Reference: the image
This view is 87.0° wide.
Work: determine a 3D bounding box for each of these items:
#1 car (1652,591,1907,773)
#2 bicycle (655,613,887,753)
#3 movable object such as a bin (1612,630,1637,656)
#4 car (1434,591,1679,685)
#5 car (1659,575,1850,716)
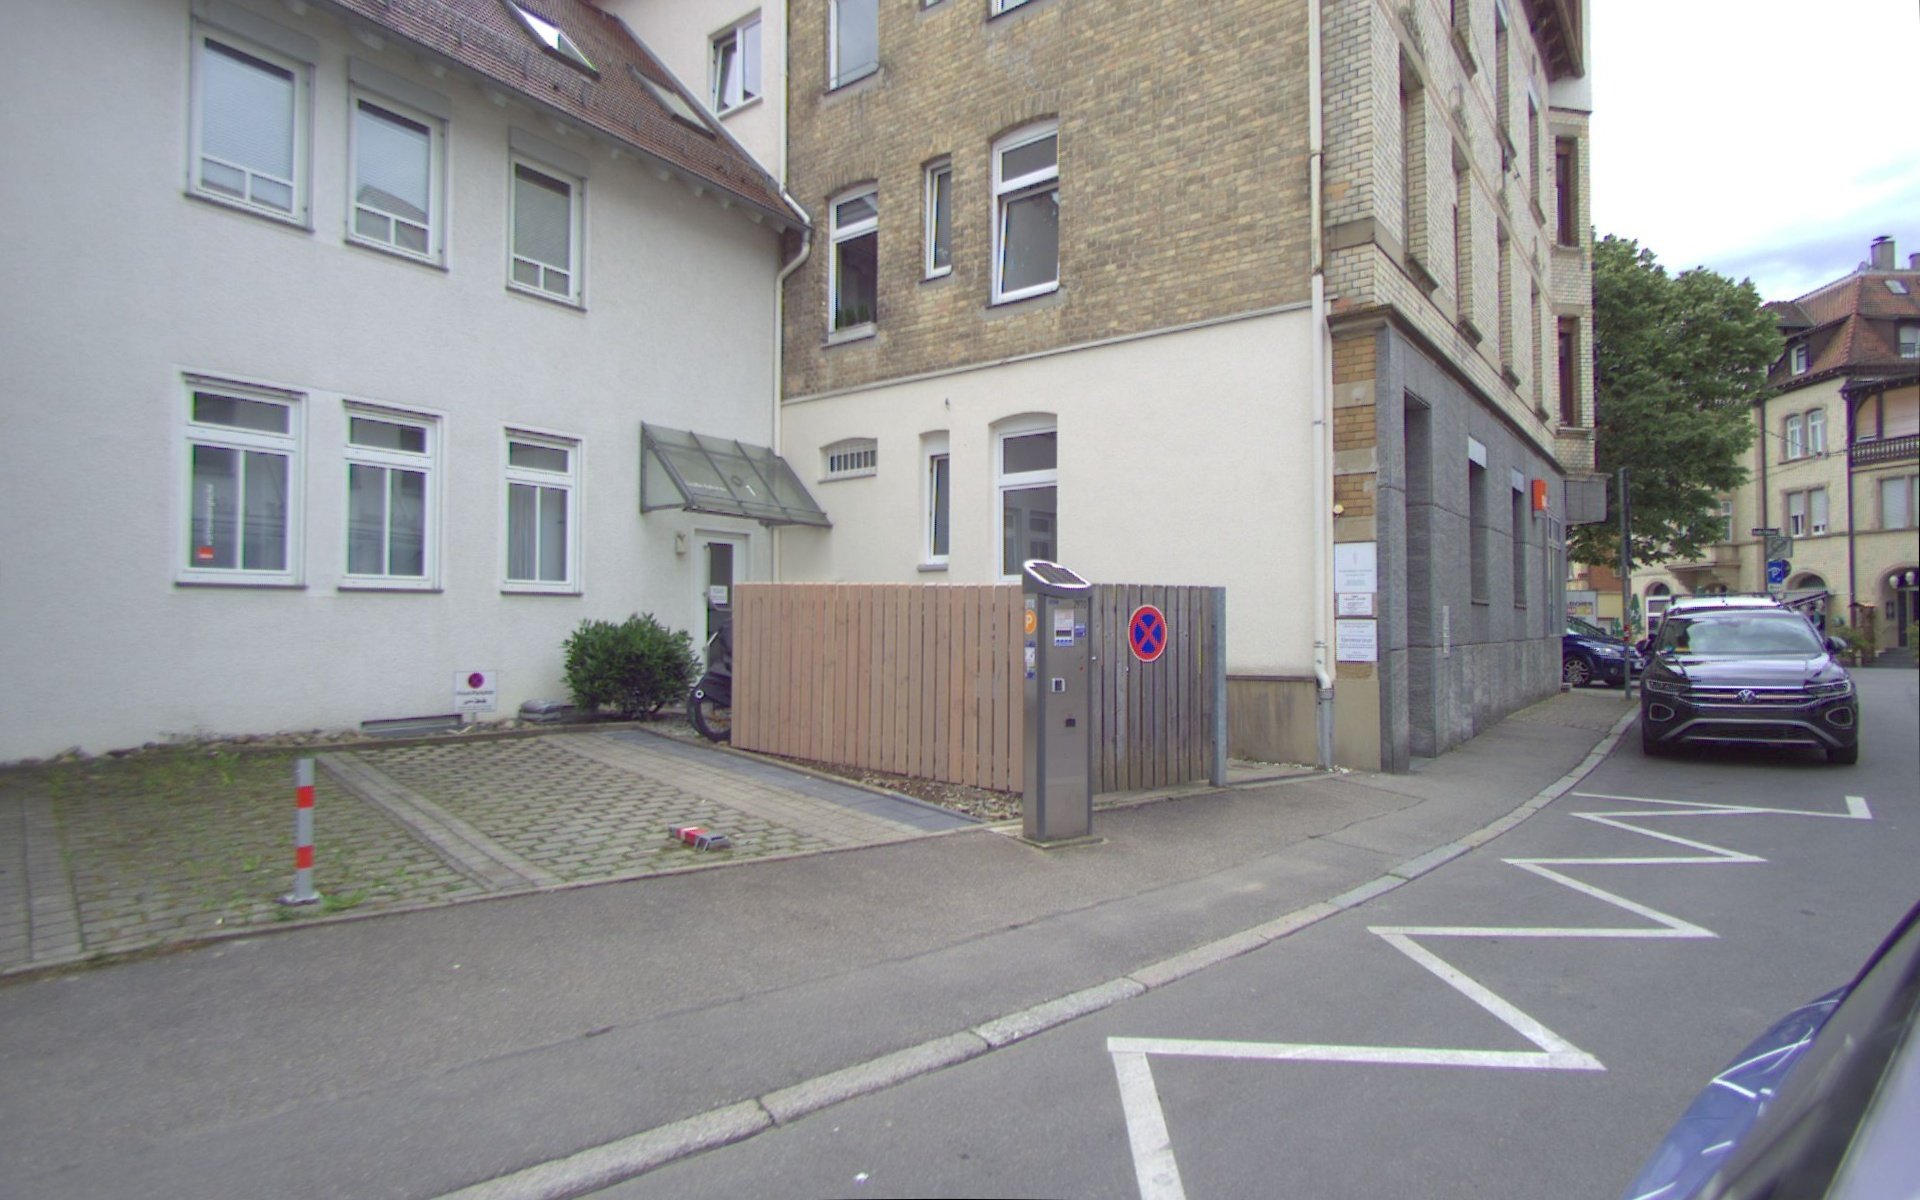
[{"bbox_3d":[8.938,0.765,11.409,1.781,1.621,4.486,-2,-2,34],"label":"car"},{"bbox_3d":[-1.860,0.783,10.163,2.064,1.234,0.960,2,-1,-42],"label":"bicycle"},{"bbox_3d":[38.762,2.511,59.067,0.930,1.396,0.821,-3,0,11],"label":"movable object such as a bin"},{"bbox_3d":[12.349,0.768,21.226,1.824,1.726,4.027,-1,-1,-27],"label":"car"},{"bbox_3d":[11.818,0.638,15.324,1.818,1.815,4.168,-2,-2,33],"label":"car"}]
